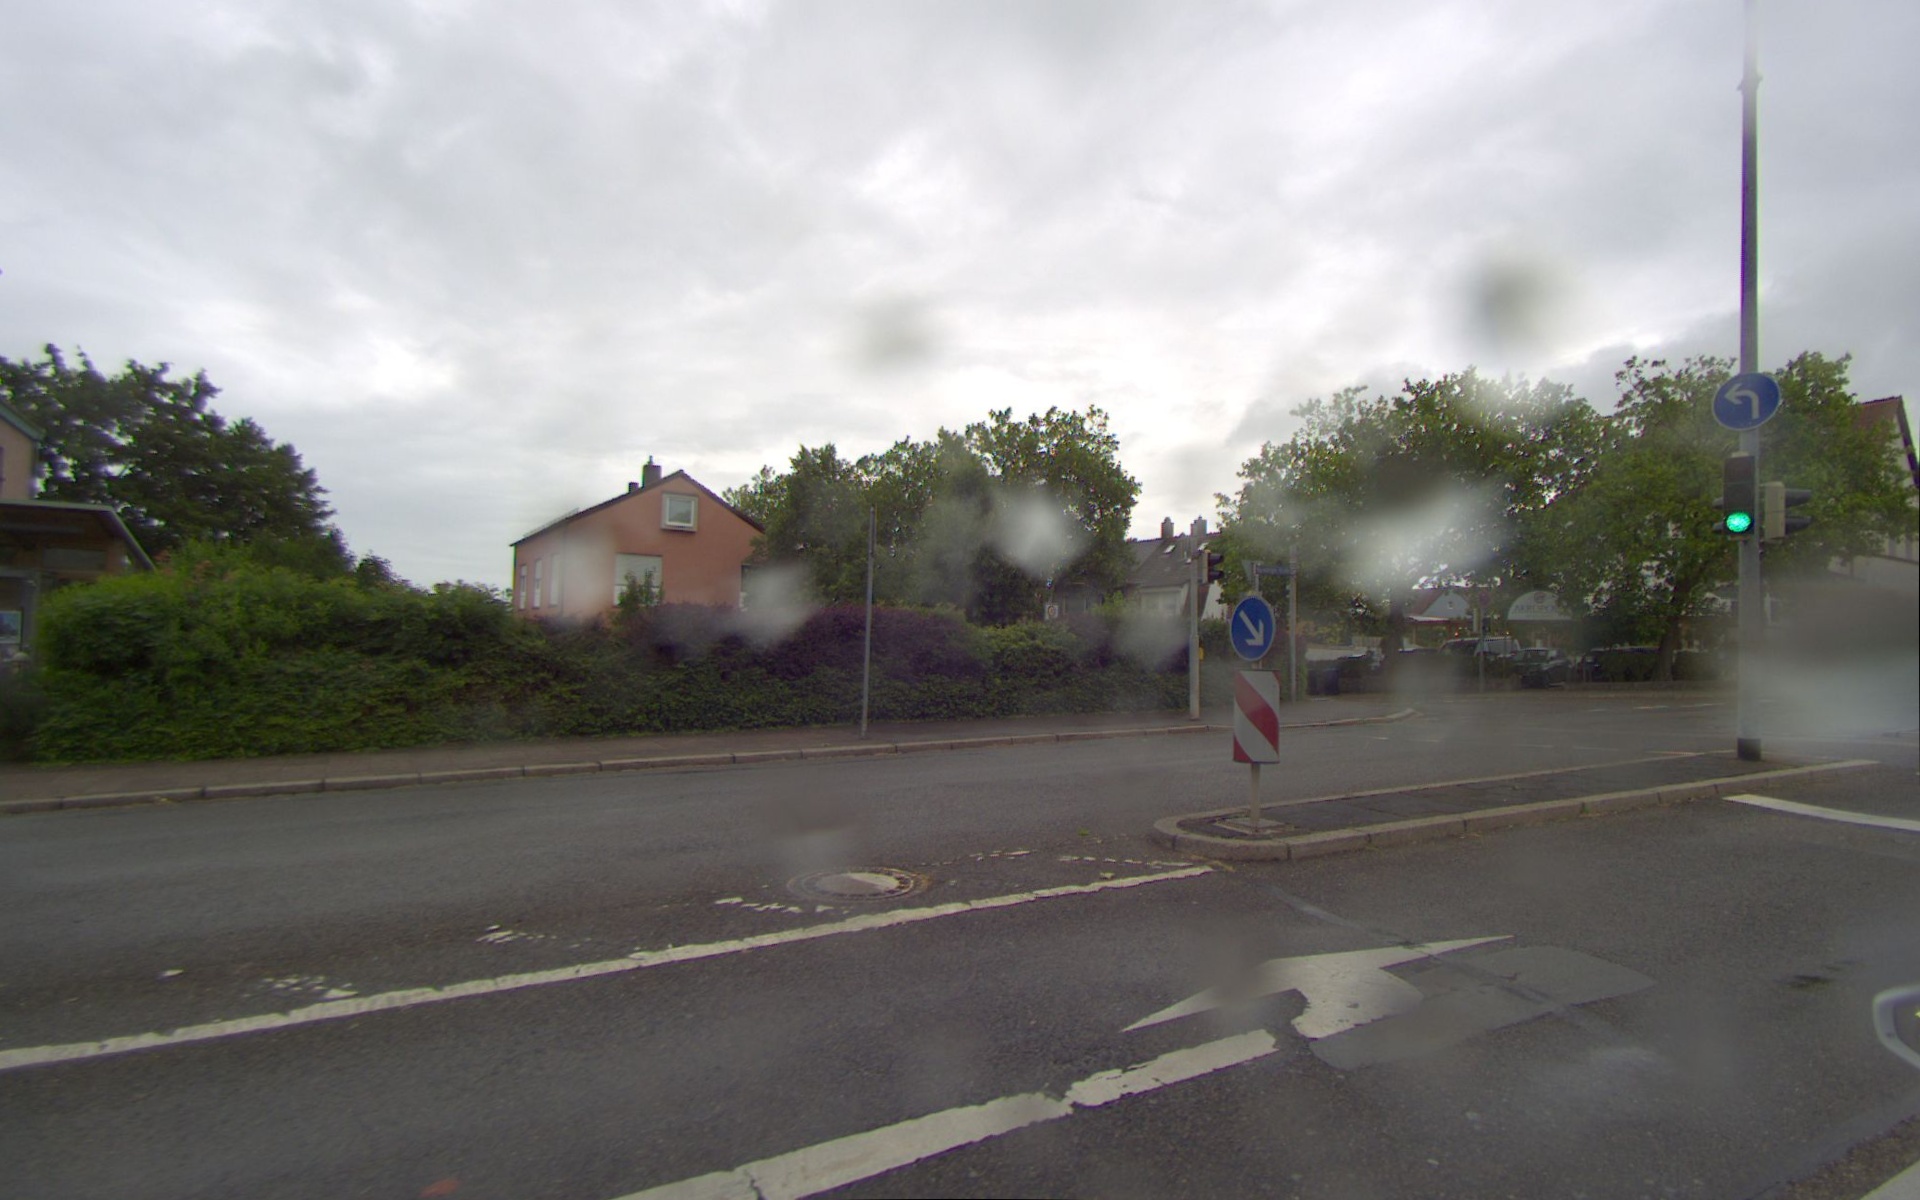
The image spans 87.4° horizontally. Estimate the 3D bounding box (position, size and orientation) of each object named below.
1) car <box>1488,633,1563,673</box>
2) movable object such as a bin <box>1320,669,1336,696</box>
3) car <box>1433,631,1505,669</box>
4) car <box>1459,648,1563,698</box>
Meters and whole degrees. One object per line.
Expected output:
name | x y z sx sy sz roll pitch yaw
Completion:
car | 30.605 2.871 54.298 3.959 2.040 1.981 3 -1 -34
movable object such as a bin | 15.101 3.385 41.181 0.404 1.057 0.450 2 -1 -14
car | 28.777 2.844 56.738 3.959 2.040 1.981 3 -1 -34
car | 21.148 2.751 38.514 3.955 1.573 1.798 -2 1 -32
